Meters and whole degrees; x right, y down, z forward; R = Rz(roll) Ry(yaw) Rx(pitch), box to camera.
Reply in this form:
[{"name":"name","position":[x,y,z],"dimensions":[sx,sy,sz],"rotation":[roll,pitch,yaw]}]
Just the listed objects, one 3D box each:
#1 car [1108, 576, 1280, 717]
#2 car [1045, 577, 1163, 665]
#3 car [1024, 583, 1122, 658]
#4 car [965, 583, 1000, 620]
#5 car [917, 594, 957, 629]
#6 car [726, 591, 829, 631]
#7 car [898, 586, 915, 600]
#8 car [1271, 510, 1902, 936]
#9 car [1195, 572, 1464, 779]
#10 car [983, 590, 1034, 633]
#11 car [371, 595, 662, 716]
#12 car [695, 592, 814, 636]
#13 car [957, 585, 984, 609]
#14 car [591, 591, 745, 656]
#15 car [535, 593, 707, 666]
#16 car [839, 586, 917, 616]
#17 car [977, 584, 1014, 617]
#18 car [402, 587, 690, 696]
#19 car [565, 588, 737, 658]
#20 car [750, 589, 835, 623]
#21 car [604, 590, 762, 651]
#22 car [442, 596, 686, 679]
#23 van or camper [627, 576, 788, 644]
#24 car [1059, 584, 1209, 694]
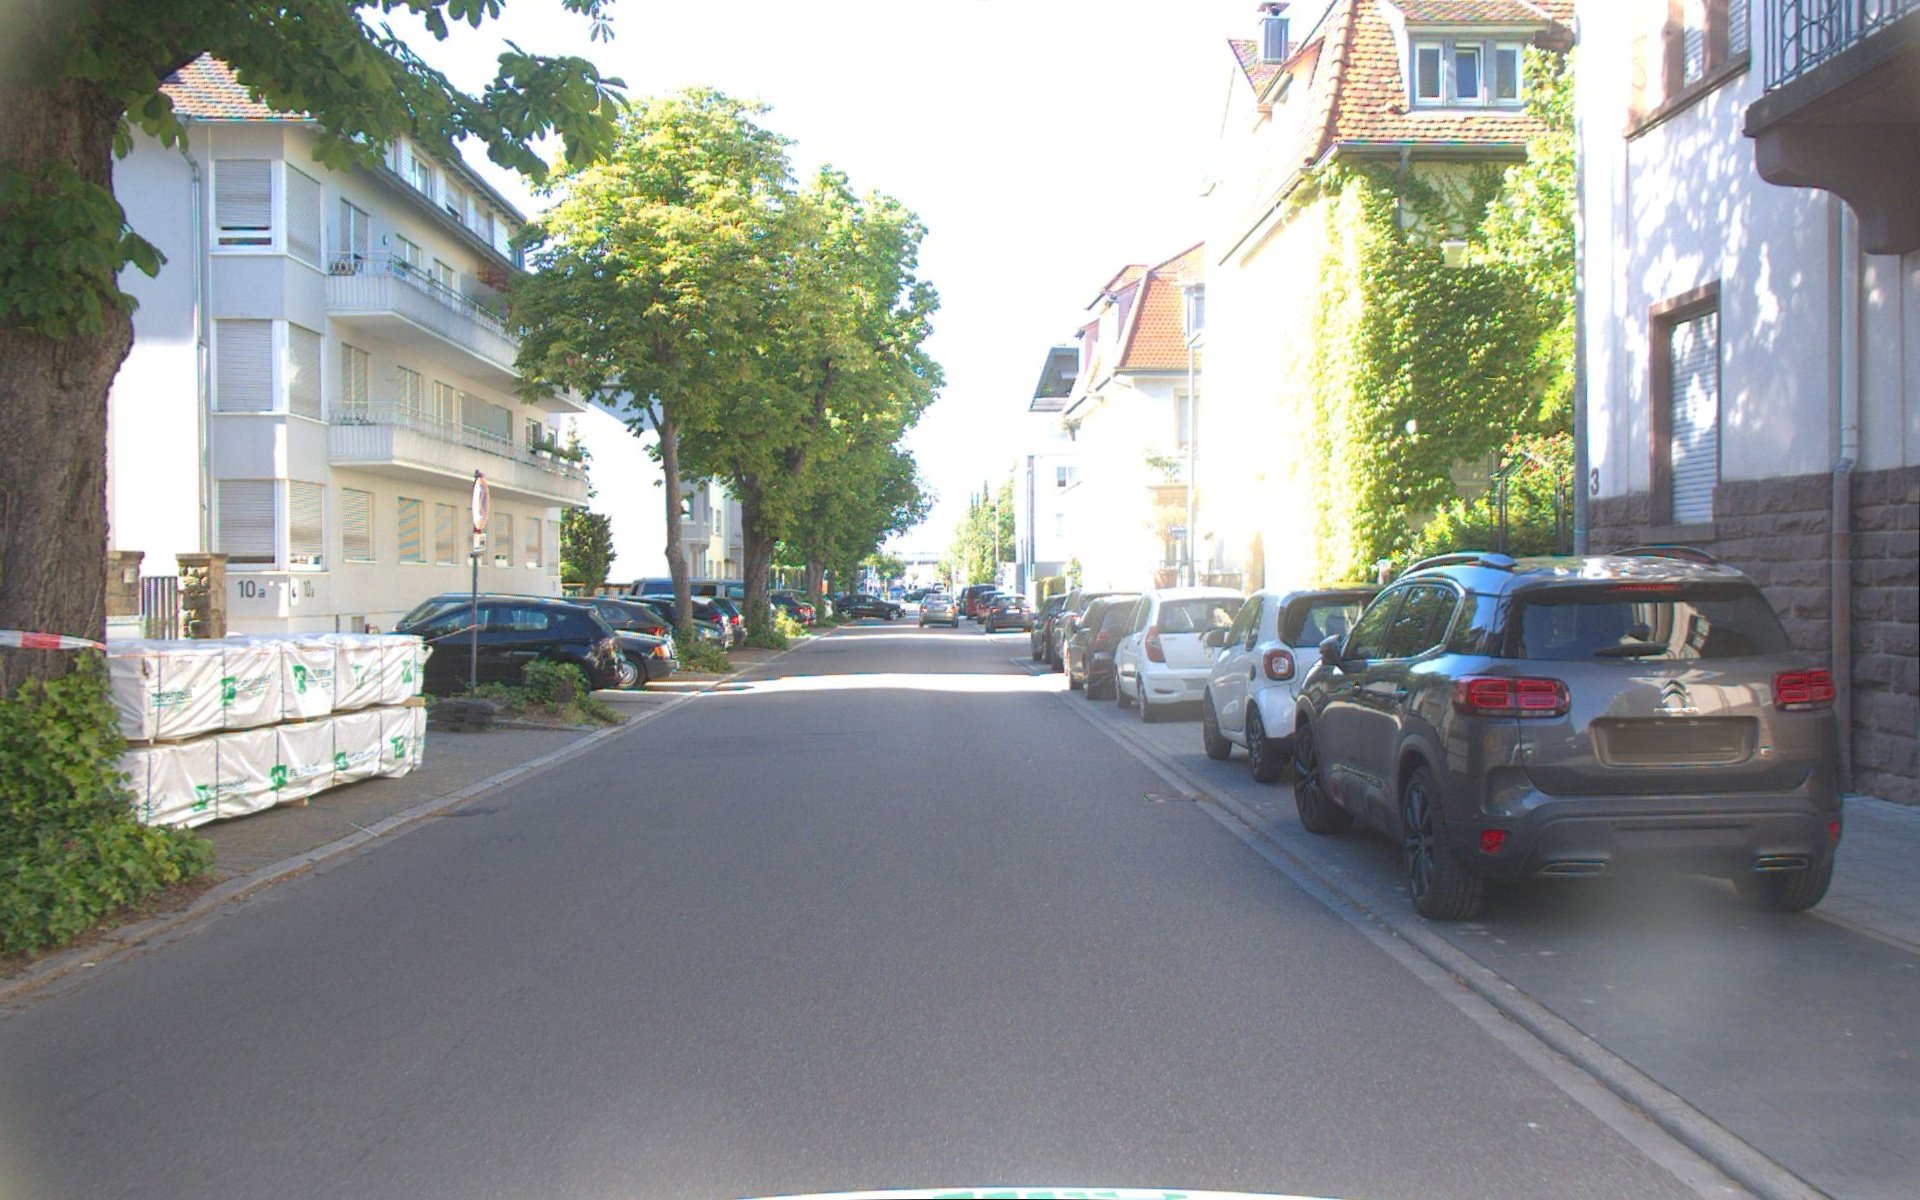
[{"name":"car","position":[2.860,0.554,20.845],"dimensions":[1.543,1.576,3.467],"rotation":[-2,-1,-2]},{"name":"car","position":[2.710,0.398,32.070],"dimensions":[1.755,1.547,4.365],"rotation":[-2,-1,-2]},{"name":"car","position":[2.496,0.462,37.443],"dimensions":[1.629,1.547,3.998],"rotation":[-2,-1,-4]},{"name":"car","position":[1.205,0.106,92.384],"dimensions":[1.833,1.938,5.197],"rotation":[-1,0,0]},{"name":"car","position":[-0.982,0.494,73.050],"dimensions":[1.691,1.445,3.960],"rotation":[-1,0,0]},{"name":"car","position":[-7.194,0.428,65.351],"dimensions":[3.906,1.494,1.696],"rotation":[-1,0,-2]},{"name":"car","position":[-6.769,-0.882,210.105],"dimensions":[1.836,1.758,3.995],"rotation":[-1,1,-6]},{"name":"car","position":[3.026,0.538,9.055],"dimensions":[1.742,1.726,4.319],"rotation":[2,-1,-1]},{"name":"car","position":[3.064,0.599,14.209],"dimensions":[1.592,1.576,2.868],"rotation":[1,-1,-2]},{"name":"car","position":[1.840,0.416,63.393],"dimensions":[1.587,1.465,3.933],"rotation":[-3,1,-3]},{"name":"car","position":[-6.210,0.743,23.566],"dimensions":[3.800,1.540,1.828],"rotation":[-1,0,-10]},{"name":"car","position":[-7.418,0.489,60.038],"dimensions":[4.103,1.525,1.860],"rotation":[-1,0,-3]},{"name":"car","position":[0.734,-0.202,115.031],"dimensions":[1.648,1.460,4.264],"rotation":[-4,-1,-1]},{"name":"car","position":[-7.066,0.565,40.302],"dimensions":[3.407,1.483,1.797],"rotation":[1,0,-1]},{"name":"car","position":[-7.189,0.619,35.342],"dimensions":[3.412,1.445,1.708],"rotation":[1,-1,-7]},{"name":"car","position":[-4.450,0.063,90.164],"dimensions":[4.103,1.473,1.712],"rotation":[2,-1,0]},{"name":"car","position":[1.696,0.025,80.007],"dimensions":[1.560,1.506,3.246],"rotation":[-2,0,-2]},{"name":"car","position":[-6.845,0.653,27.755],"dimensions":[4.506,1.635,1.828],"rotation":[-1,0,-11]},{"name":"car","position":[-7.019,0.519,37.790],"dimensions":[3.569,1.488,1.710],"rotation":[1,0,0]},{"name":"car","position":[-8.124,0.266,80.327],"dimensions":[3.941,1.510,1.806],"rotation":[2,0,-2]},{"name":"car","position":[-7.111,0.522,42.729],"dimensions":[3.844,1.439,1.714],"rotation":[1,1,-4]},{"name":"car","position":[-7.227,0.661,30.465],"dimensions":[4.103,1.466,1.712],"rotation":[0,0,-3]},{"name":"van or camper","position":[-7.291,0.281,48.155],"dimensions":[4.406,1.948,1.963],"rotation":[0,0,-2]},{"name":"car","position":[2.562,0.569,25.195],"dimensions":[1.675,1.461,4.191],"rotation":[-2,-1,-2]}]
